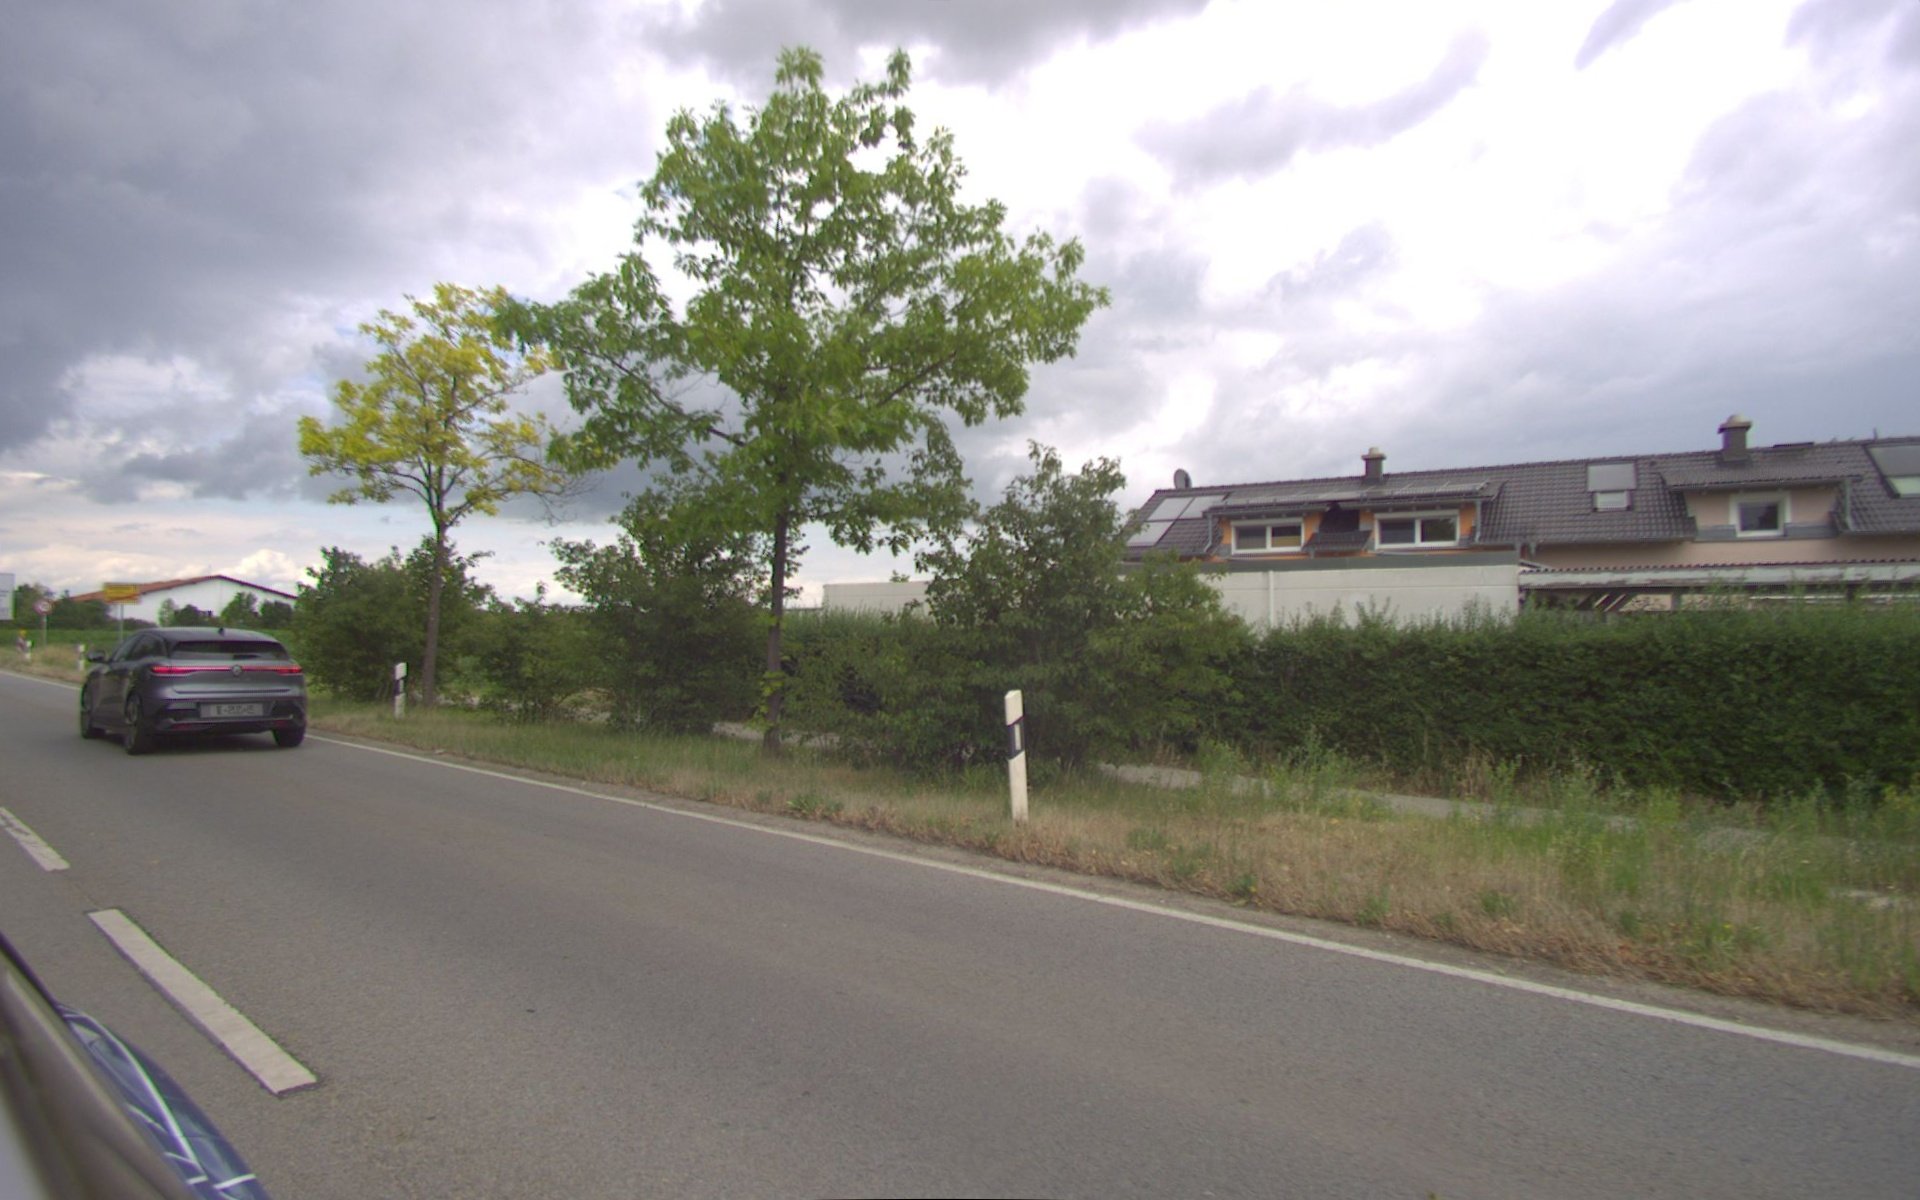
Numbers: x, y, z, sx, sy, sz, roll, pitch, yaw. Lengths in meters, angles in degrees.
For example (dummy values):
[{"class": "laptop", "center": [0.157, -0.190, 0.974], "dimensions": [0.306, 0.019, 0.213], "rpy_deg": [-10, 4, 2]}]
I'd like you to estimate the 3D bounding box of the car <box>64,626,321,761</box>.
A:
[{"class": "car", "center": [-10.194, 1.124, 13.333], "dimensions": [4.201, 1.505, 1.797], "rpy_deg": [-2, -4, 40]}]
